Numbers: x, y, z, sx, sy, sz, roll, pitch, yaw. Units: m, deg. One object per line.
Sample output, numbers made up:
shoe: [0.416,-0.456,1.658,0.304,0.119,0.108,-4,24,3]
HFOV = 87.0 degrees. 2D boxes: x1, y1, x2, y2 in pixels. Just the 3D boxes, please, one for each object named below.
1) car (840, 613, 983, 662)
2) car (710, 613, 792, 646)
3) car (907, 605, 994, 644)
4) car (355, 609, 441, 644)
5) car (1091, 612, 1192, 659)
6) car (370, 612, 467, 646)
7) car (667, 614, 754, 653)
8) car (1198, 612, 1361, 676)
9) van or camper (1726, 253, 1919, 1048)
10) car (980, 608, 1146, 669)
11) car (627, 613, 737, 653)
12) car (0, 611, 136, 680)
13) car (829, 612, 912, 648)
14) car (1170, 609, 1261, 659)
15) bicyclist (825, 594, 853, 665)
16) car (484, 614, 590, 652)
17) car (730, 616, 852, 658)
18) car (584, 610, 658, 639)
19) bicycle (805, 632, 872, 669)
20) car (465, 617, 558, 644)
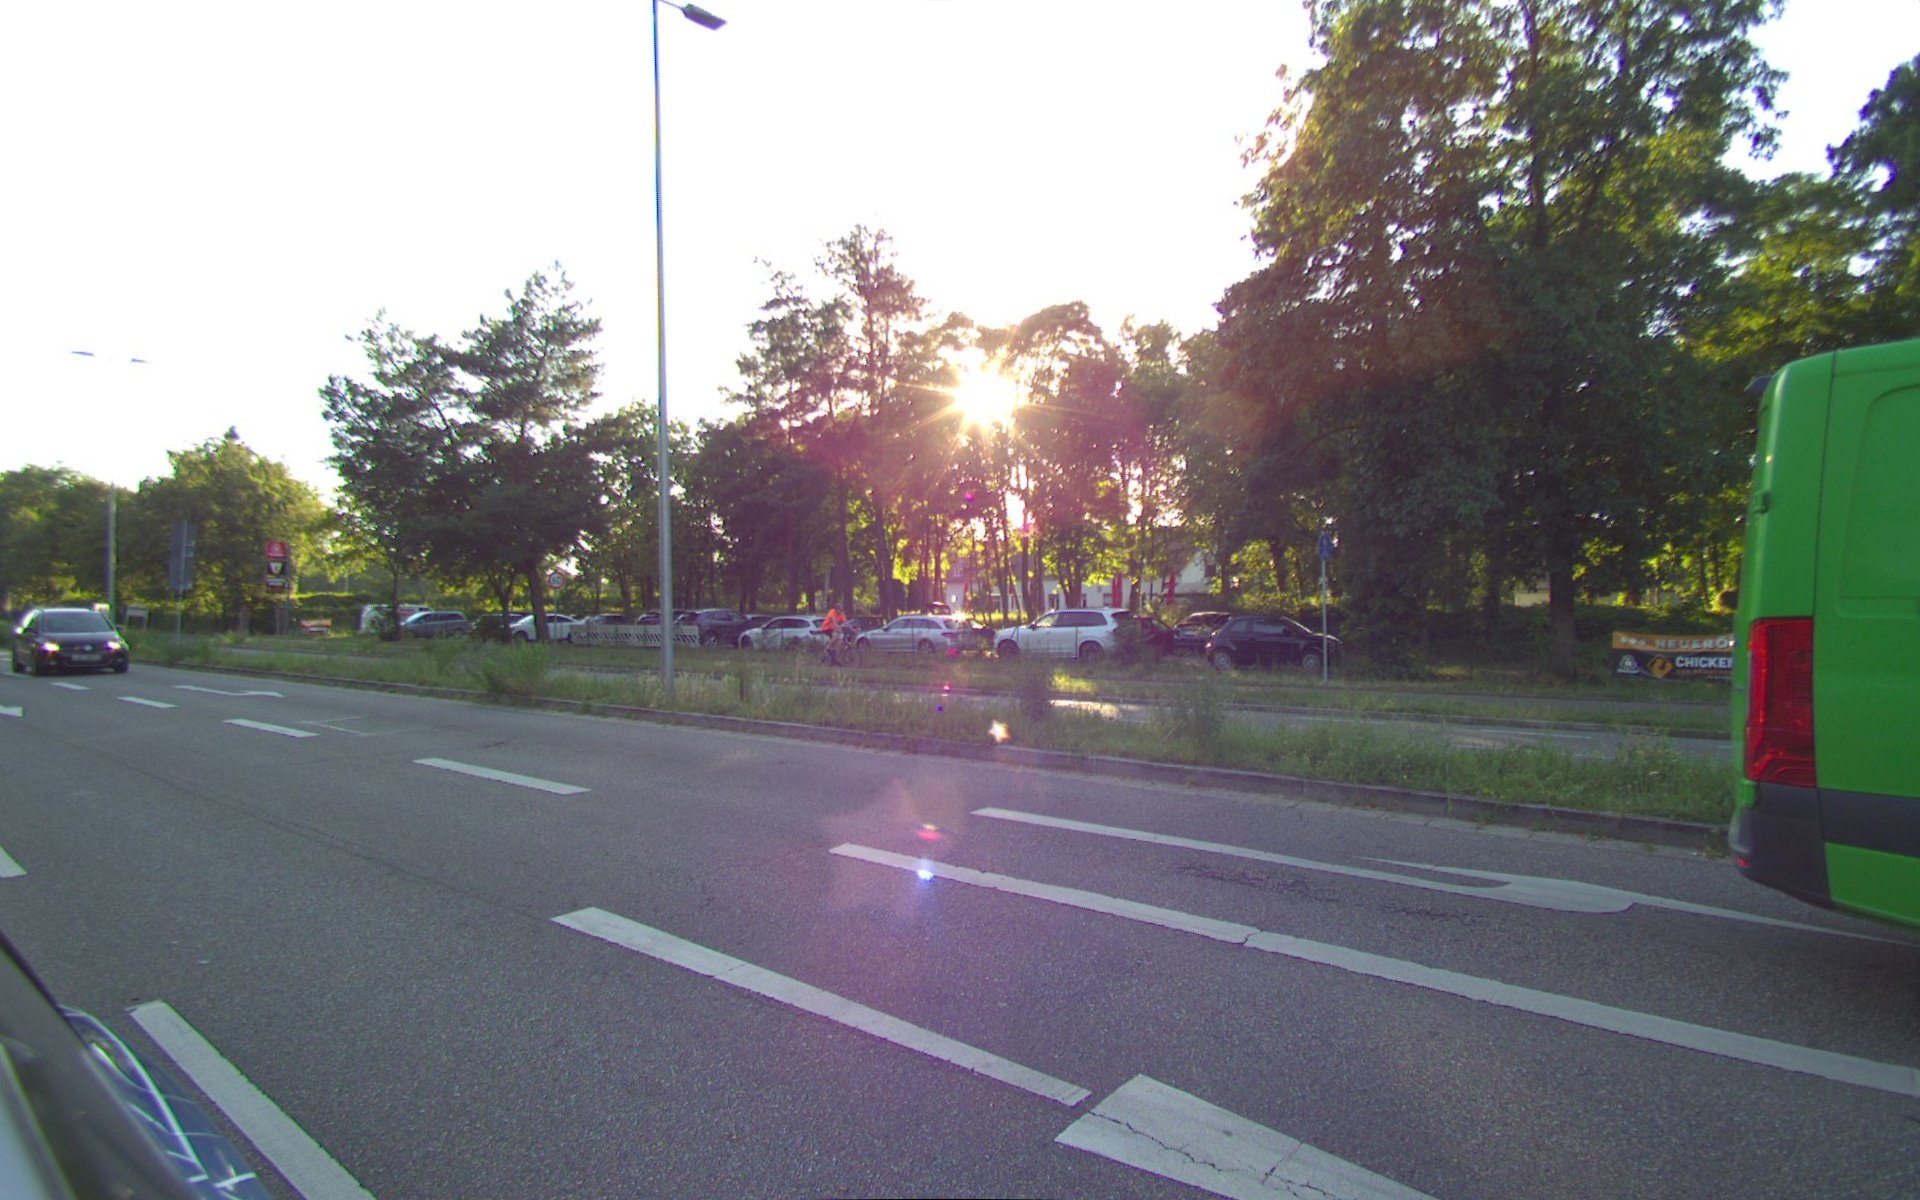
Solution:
car: [-1.741,1.279,35.596,4.913,1.619,1.975,-1,-2,37]
car: [-10.897,1.513,52.954,1.765,1.663,3.947,-1,-2,40]
car: [-0.381,1.095,45.117,1.765,1.663,3.947,-1,-2,39]
car: [-32.534,1.507,58.674,1.764,1.959,3.949,-1,-2,38]
car: [6.827,1.304,37.851,1.918,1.663,3.944,-1,-2,42]
car: [-30.260,1.597,56.652,1.907,1.811,4.443,-1,-2,38]
car: [-10.157,1.344,41.312,1.657,1.538,3.060,-1,-2,38]
car: [8.577,1.140,27.254,3.807,1.609,1.838,-1,-2,36]
van or camper: [5.473,0.131,2.269,5.891,2.439,1.973,-1,-2,40]
car: [3.178,1.170,31.810,4.913,1.800,1.975,-1,-2,37]
car: [-11.971,1.407,43.844,1.769,1.629,4.470,-1,-2,37]
car: [-21.949,1.070,24.809,3.996,1.564,1.973,-1,-2,40]
car: [-4.315,1.442,49.052,1.765,1.663,3.947,-1,-2,39]
car: [9.005,1.167,35.448,1.914,1.663,3.954,-1,-1,34]
bicyclist: [-3.278,0.800,27.441,0.617,1.888,0.454,-1,-2,36]
car: [-20.798,1.614,49.850,1.908,1.767,4.441,-1,-2,39]
car: [-6.600,1.408,39.299,4.701,1.560,1.975,-1,-2,37]
car: [-20.491,1.497,61.244,1.765,1.663,3.947,-1,-2,40]
bicycle: [-3.308,1.355,27.437,2.040,0.940,0.487,-1,-2,36]
car: [-22.677,1.528,51.296,1.731,1.322,3.947,-1,-2,39]
